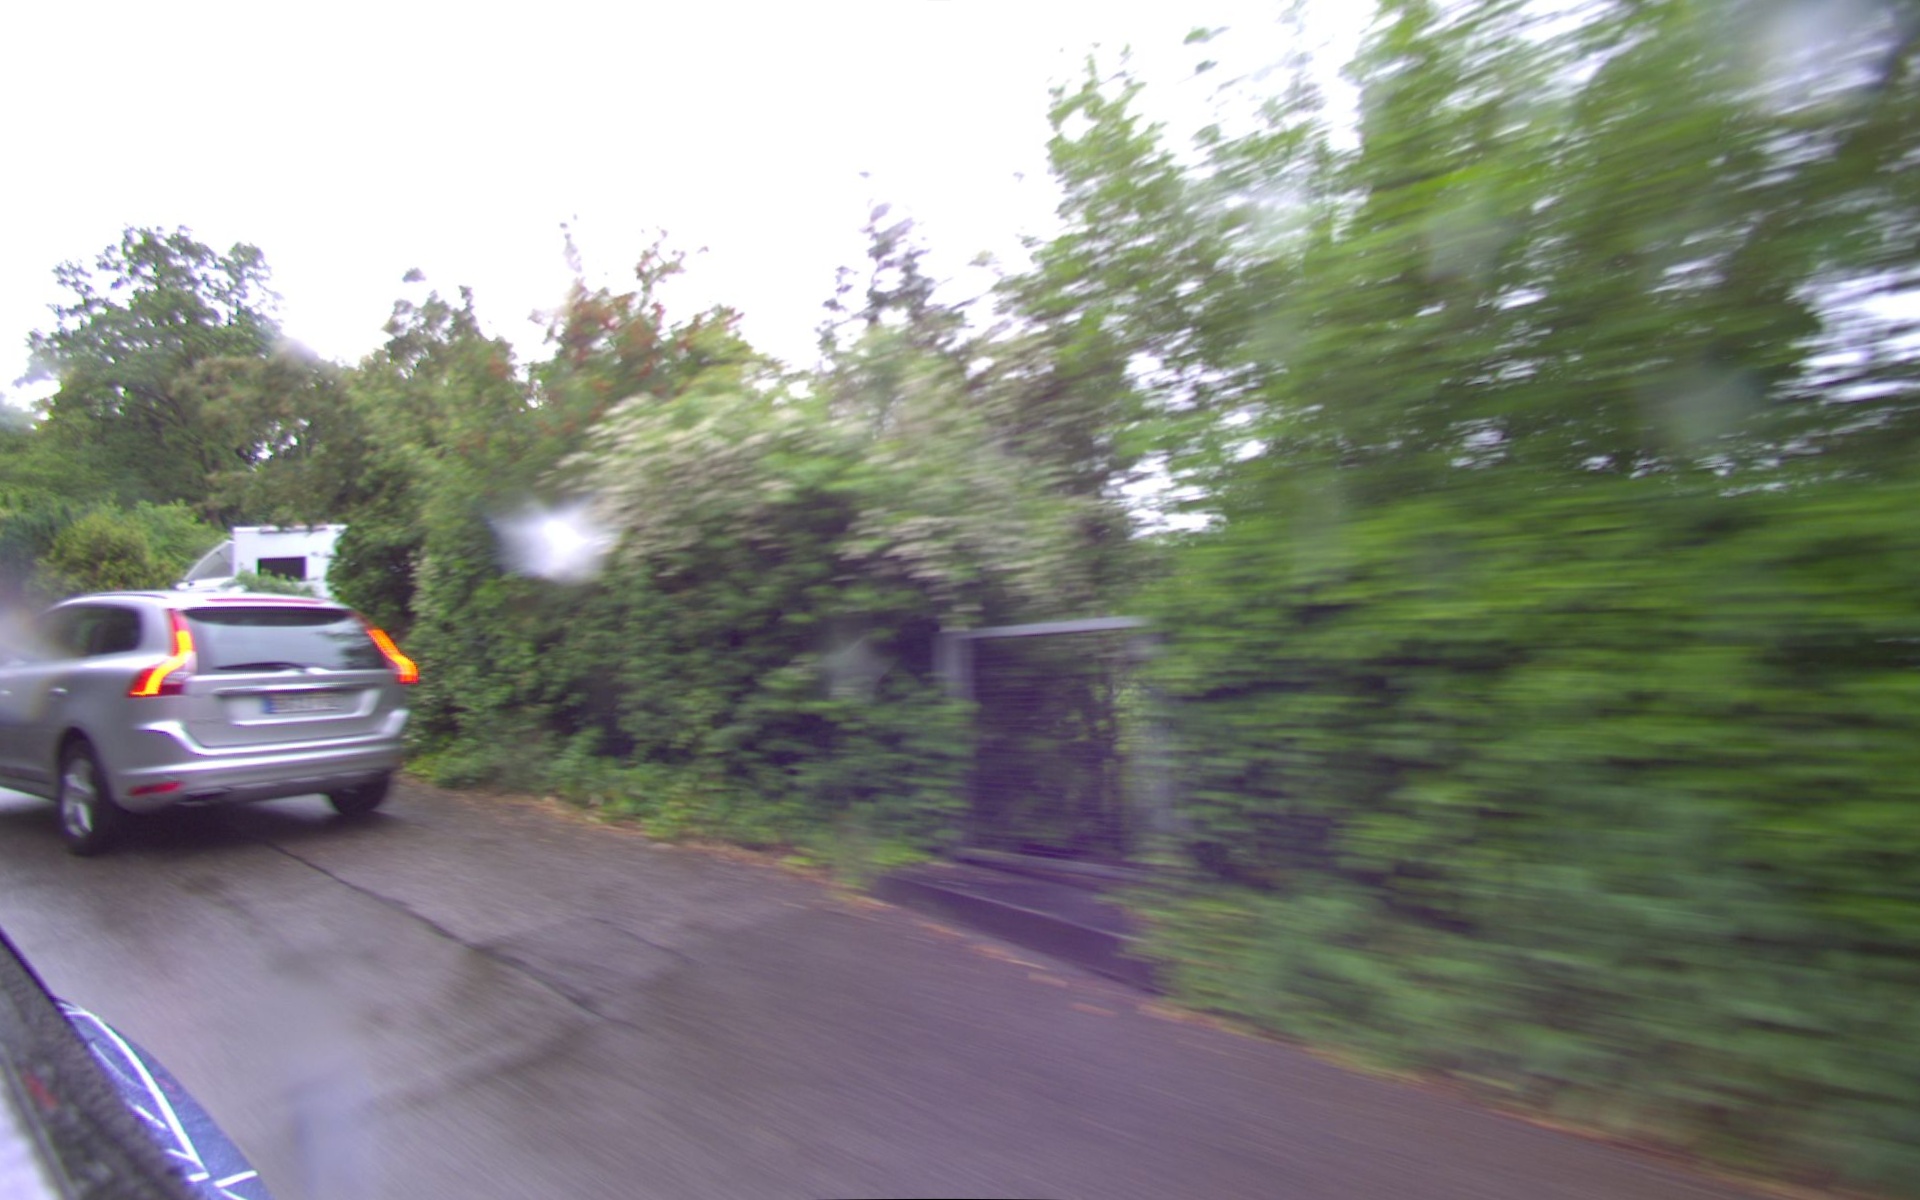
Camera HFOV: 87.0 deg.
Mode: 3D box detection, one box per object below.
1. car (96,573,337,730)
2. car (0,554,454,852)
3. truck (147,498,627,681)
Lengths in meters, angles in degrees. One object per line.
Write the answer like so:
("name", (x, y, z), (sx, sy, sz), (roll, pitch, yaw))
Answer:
("car", (-9.803, 0.662, 13.226), (4.067, 1.740, 1.667), (-1, -5, 42))
("car", (-5.990, 0.638, 7.543), (4.446, 1.633, 1.908), (-2, -2, 31))
("truck", (-12.443, -0.214, 22.624), (9.117, 3.743, 2.769), (-1, -1, -2))
